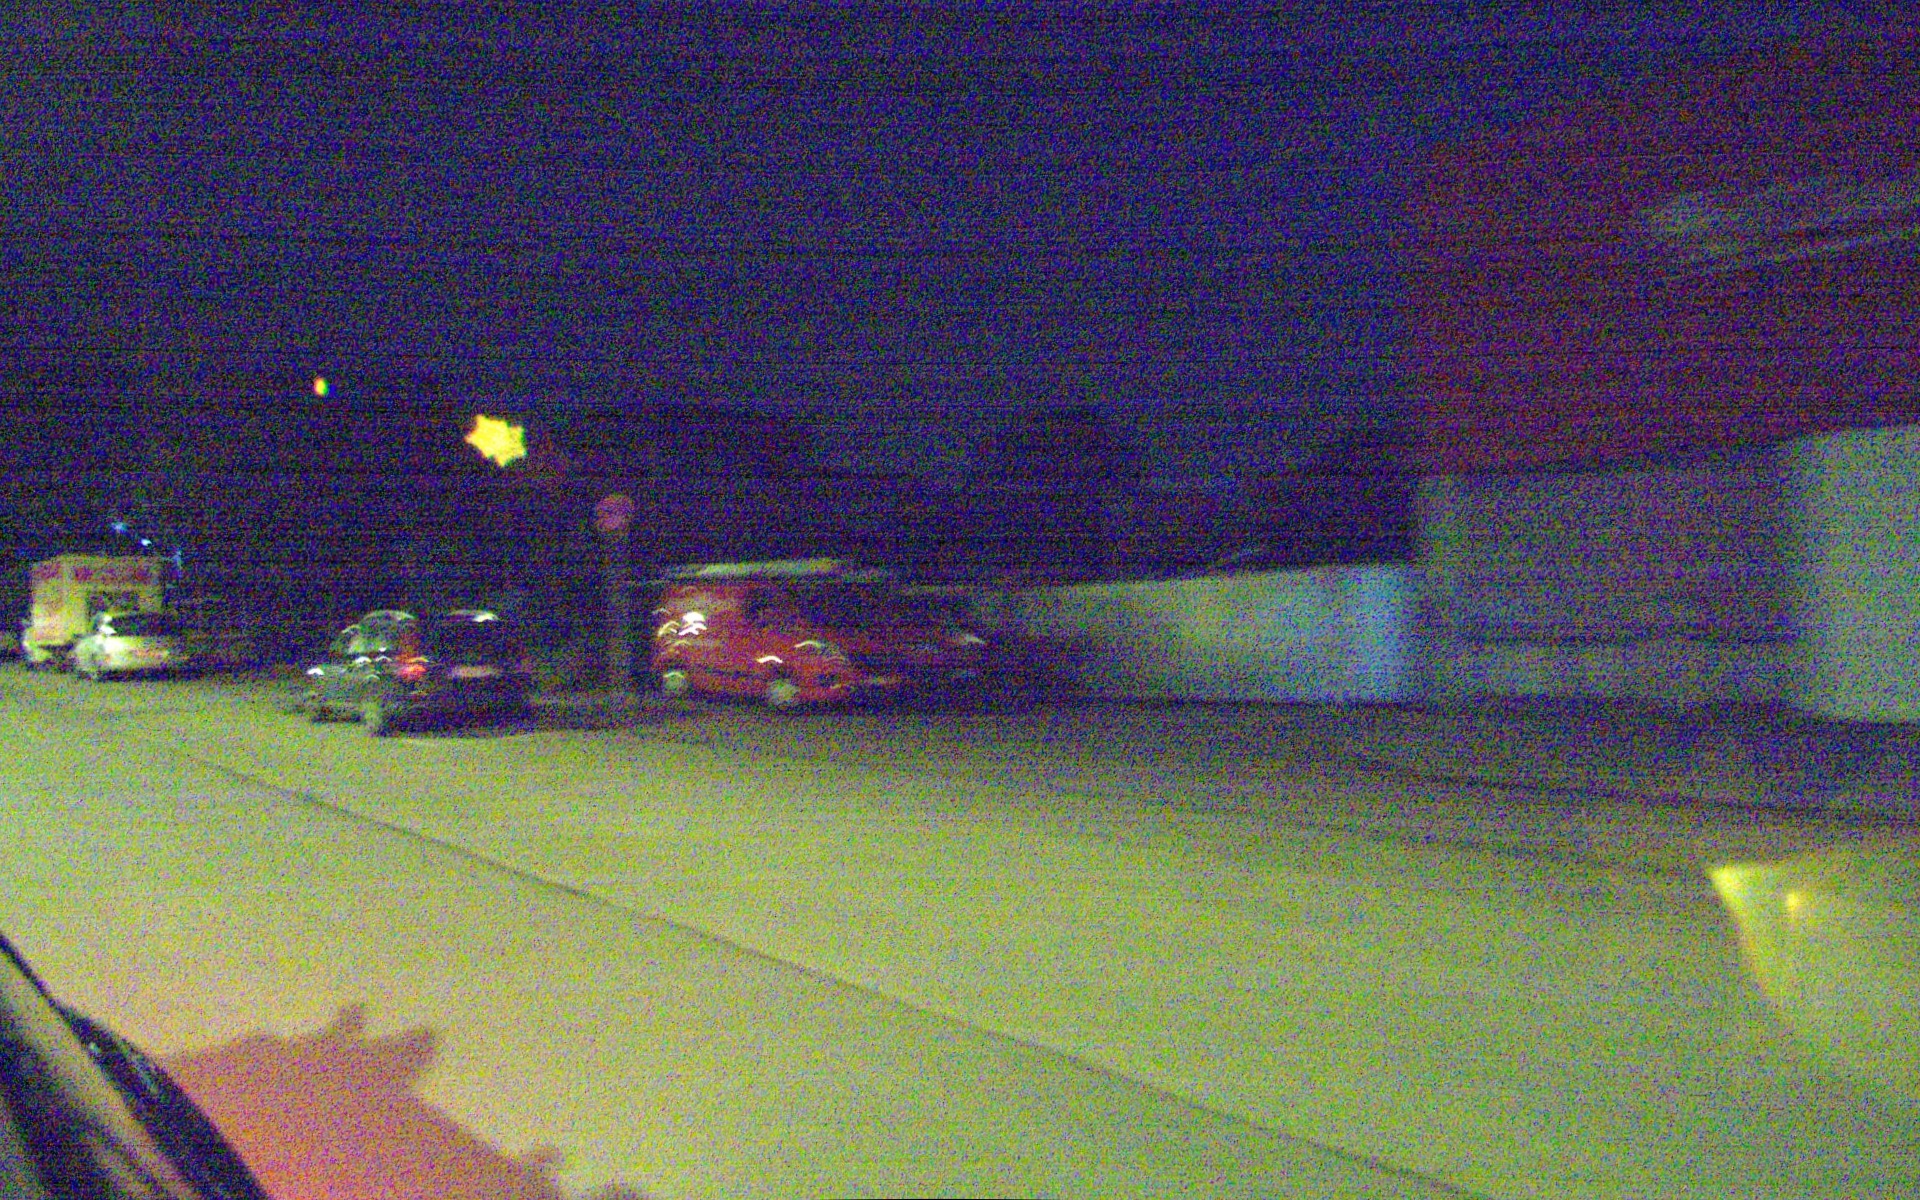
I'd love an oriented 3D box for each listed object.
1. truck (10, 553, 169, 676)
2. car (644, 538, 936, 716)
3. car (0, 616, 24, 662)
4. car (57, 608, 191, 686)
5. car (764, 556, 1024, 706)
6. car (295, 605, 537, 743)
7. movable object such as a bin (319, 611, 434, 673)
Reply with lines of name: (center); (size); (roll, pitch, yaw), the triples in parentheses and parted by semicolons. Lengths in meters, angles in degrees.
truck: (-26.400, 0.463, 30.564); (7.306, 3.305, 2.518); (-2, -1, 40)
car: (-2.793, 0.431, 15.745); (1.970, 2.339, 4.969); (2, -3, -45)
car: (-39.404, 1.562, 40.265); (4.675, 1.785, 1.979); (-1, -1, 31)
car: (-21.425, 1.150, 25.863); (4.834, 1.830, 1.810); (-2, -1, 40)
car: (-1.303, 0.543, 18.222); (2.182, 2.339, 4.627); (0, -2, -45)
car: (-7.449, 0.890, 13.655); (1.735, 1.538, 4.325); (0, -1, -44)
movable object such as a bin: (-15.104, 1.064, 26.222); (2.308, 1.506, 1.417); (0, -1, -43)
